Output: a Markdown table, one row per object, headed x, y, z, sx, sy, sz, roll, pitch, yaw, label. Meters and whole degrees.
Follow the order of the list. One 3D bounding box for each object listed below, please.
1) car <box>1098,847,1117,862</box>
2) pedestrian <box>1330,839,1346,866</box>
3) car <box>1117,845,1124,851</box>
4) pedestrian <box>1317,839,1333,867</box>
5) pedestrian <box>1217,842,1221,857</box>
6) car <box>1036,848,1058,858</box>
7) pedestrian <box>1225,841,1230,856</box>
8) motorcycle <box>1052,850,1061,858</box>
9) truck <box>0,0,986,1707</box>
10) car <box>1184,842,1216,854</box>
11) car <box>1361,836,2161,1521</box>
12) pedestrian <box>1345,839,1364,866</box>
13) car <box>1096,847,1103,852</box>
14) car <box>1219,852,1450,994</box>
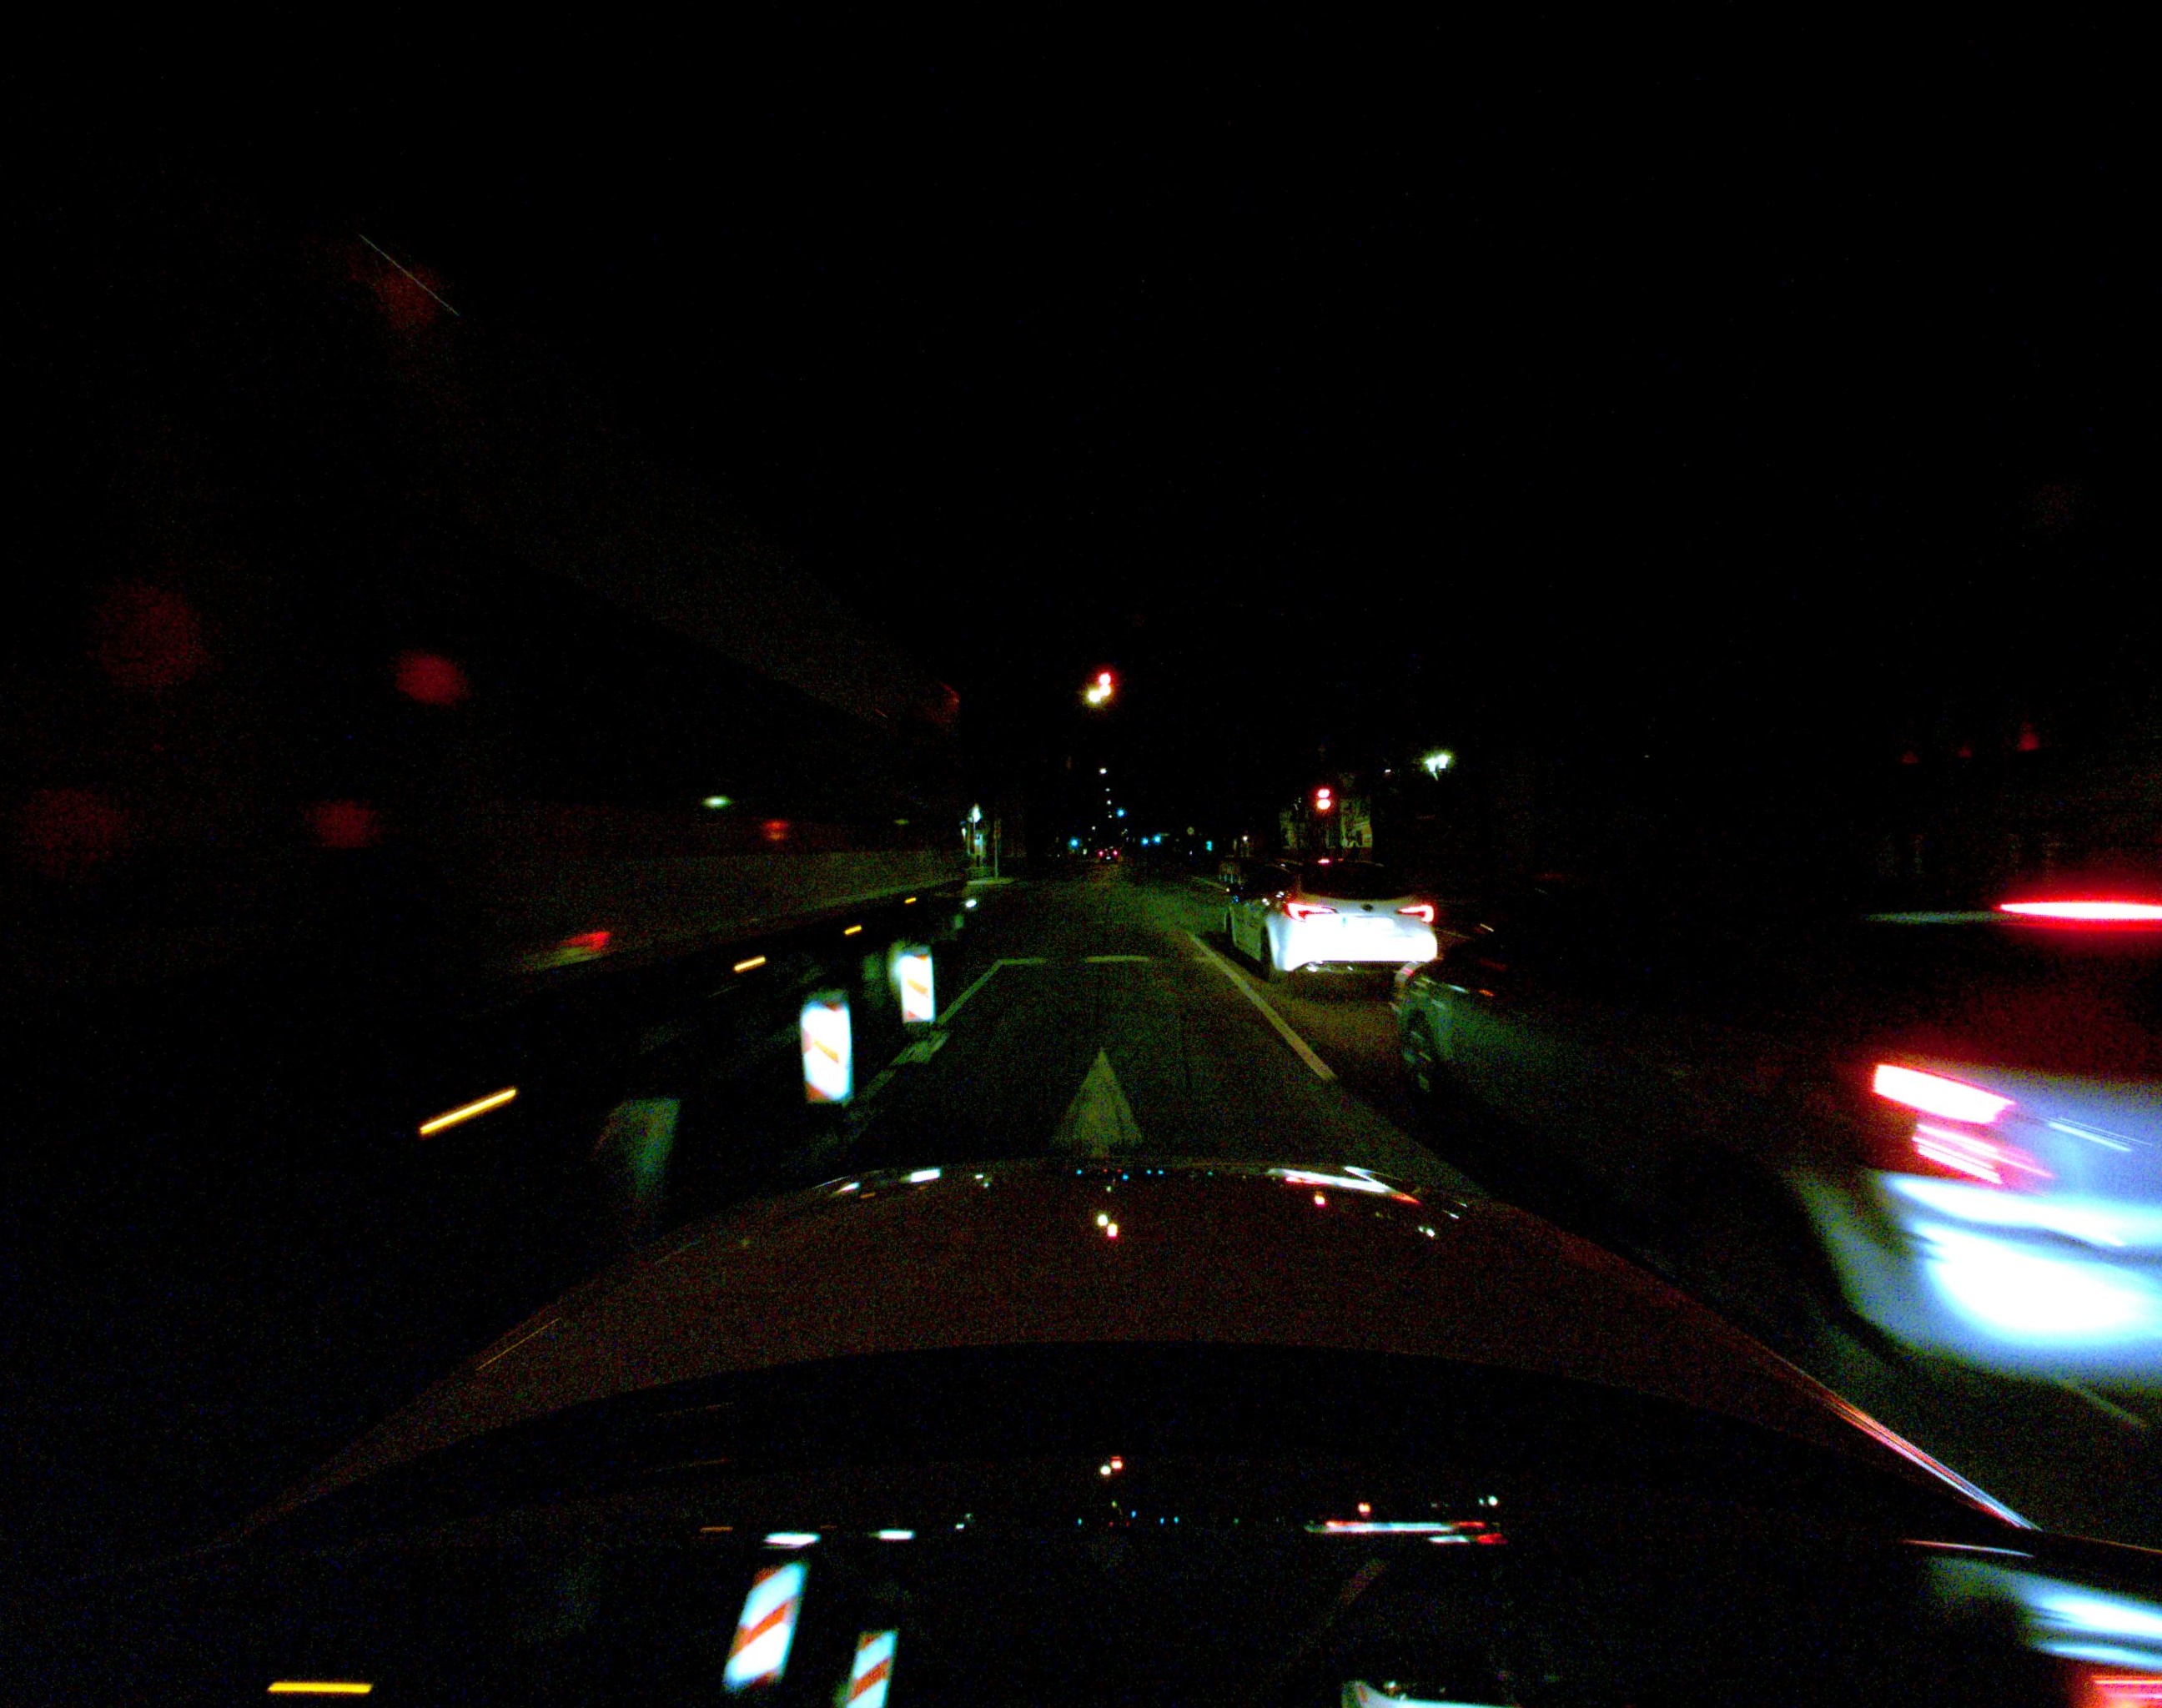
| x | y | z | sx | sy | sz | roll | pitch | yaw | label |
| --- | --- | --- | --- | --- | --- | --- | --- | --- | --- |
| 3.024 | 0.012 | 92.462 | 1.987 | 1.640 | 4.000 | -2 | 0 | 0 | car |
| 16.956 | -0.084 | 53.819 | 0.736 | 1.769 | 0.907 | -2 | 0 | 2 | pedestrian |
| 11.311 | -1.646 | 233.592 | 1.987 | 1.596 | 3.999 | -2 | 0 | 0 | car |
| 16.080 | -0.068 | 53.656 | 0.711 | 1.769 | 0.907 | -2 | 0 | 2 | pedestrian |
| 19.176 | -0.665 | 113.146 | 0.529 | 2.013 | 0.670 | -2 | 0 | 1 | pedestrian |
| -5.435 | -0.079 | 128.384 | 1.815 | 1.486 | 3.962 | -2 | 0 | -30 | car |
| 20.356 | -0.770 | 113.101 | 0.486 | 2.013 | 0.551 | -2 | 0 | 1 | pedestrian |
| -3.748 | -0.052 | 125.517 | 0.783 | 1.204 | 2.436 | -2 | 0 | -17 | motorcycle |
| -2.970 | -0.364 | 5.594 | 2.744 | 3.718 | 10.121 | -3 | 0 | 3 | truck |
| 15.525 | -0.810 | 106.146 | 3.968 | 1.386 | 1.773 | -2 | 0 | 4 | car |
| 2.750 | 0.707 | 3.779 | 1.631 | 1.494 | 4.002 | 1 | 0 | 2 | car |
| 18.071 | -0.095 | 53.824 | 0.897 | 1.769 | 0.907 | -2 | 0 | 2 | pedestrian |
| 4.886 | -1.178 | 218.961 | 1.772 | 1.390 | 4.000 | -2 | 0 | 0 | car |
| 2.977 | 0.707 | 10.514 | 1.723 | 1.435 | 4.211 | 1 | 0 | 1 | car |
